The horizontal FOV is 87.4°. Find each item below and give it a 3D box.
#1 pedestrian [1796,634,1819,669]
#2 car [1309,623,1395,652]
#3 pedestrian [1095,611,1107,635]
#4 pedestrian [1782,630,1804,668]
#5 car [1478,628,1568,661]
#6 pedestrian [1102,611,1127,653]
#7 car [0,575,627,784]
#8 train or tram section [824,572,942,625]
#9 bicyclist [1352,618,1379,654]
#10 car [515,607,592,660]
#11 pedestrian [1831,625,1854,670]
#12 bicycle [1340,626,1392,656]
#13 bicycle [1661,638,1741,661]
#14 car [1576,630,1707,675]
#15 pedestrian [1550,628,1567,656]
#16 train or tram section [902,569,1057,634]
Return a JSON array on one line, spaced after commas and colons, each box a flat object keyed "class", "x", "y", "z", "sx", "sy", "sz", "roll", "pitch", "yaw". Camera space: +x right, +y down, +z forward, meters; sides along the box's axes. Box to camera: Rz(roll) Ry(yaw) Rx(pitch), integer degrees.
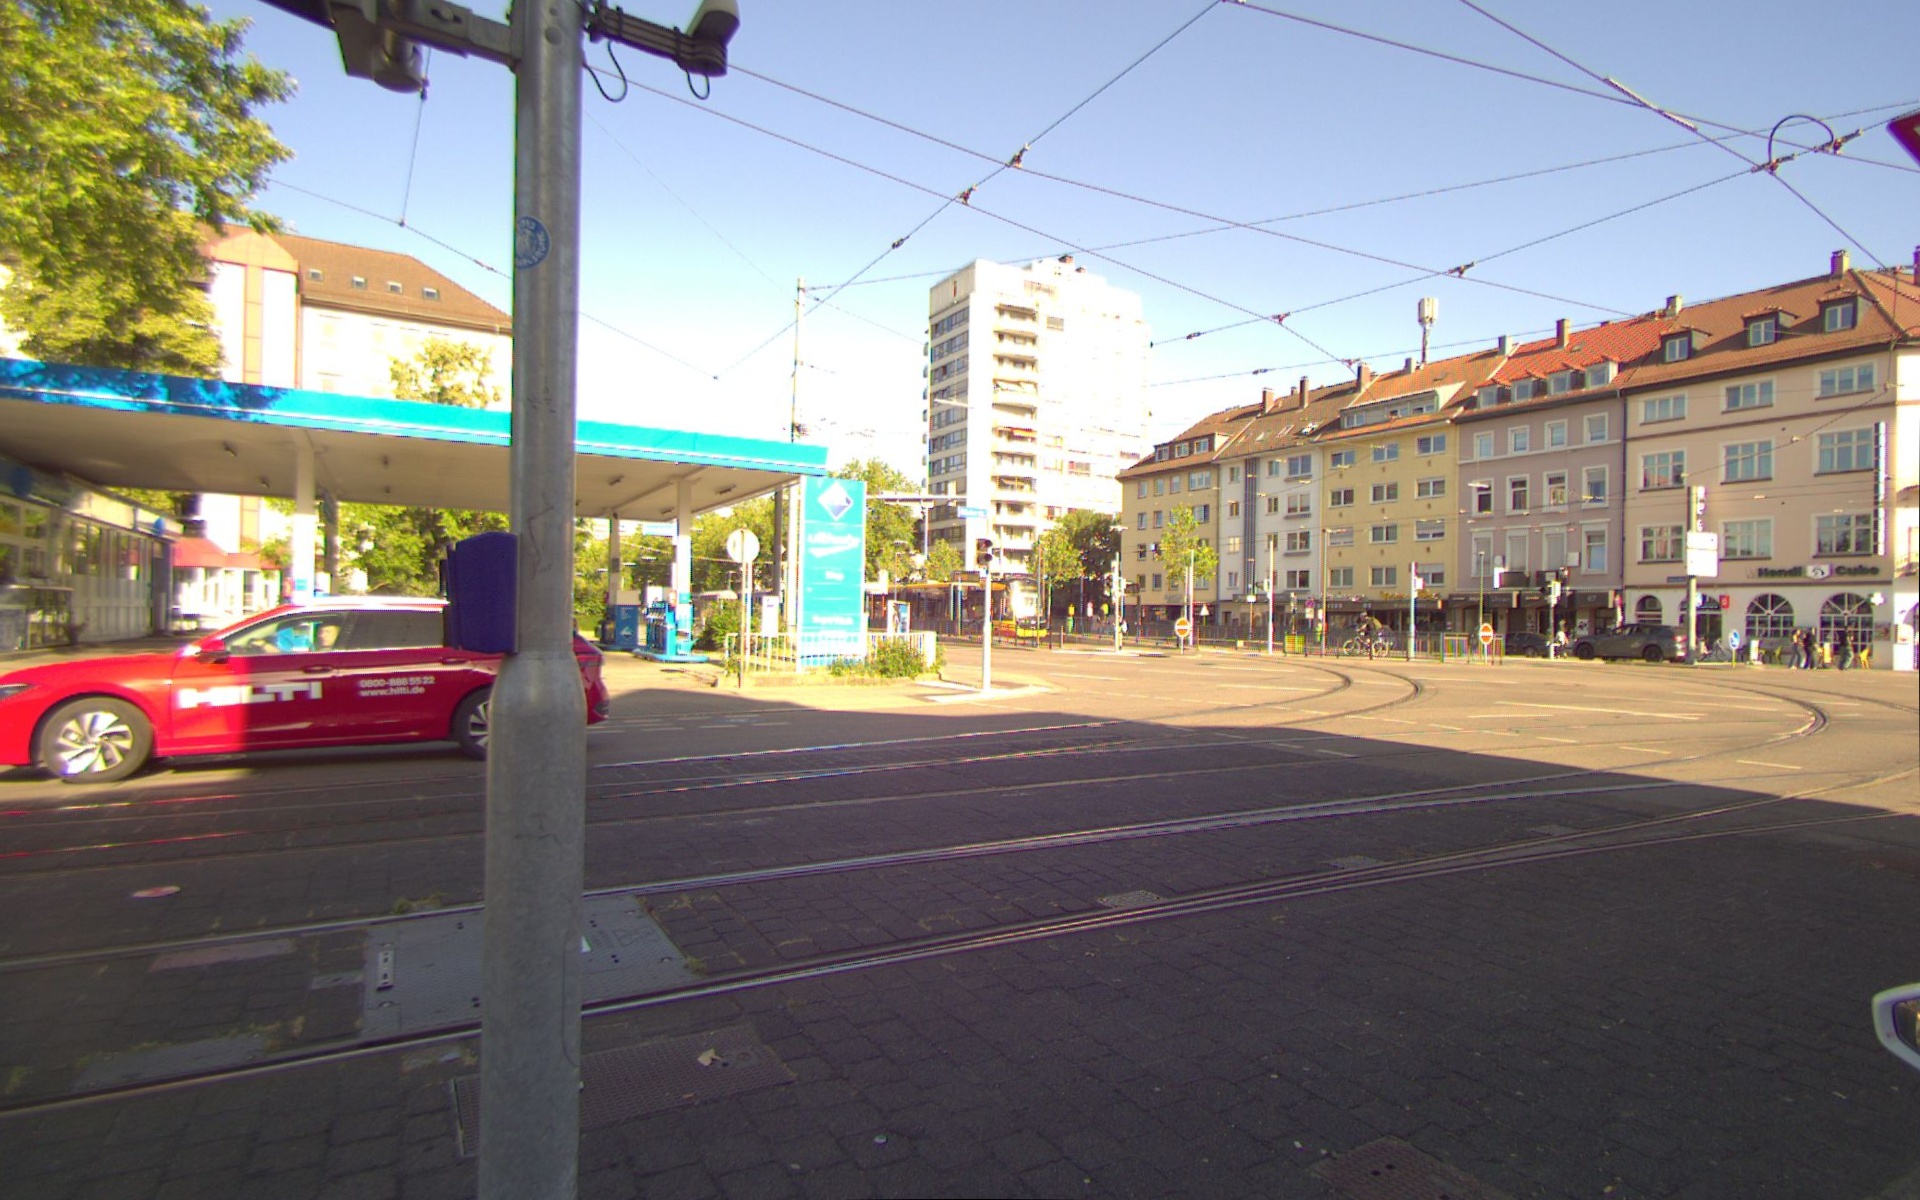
[{"class": "pedestrian", "x": 36.785, "y": 2.231, "z": 43.590, "sx": 0.460, "sy": 1.496, "sz": 0.629, "roll": 2, "pitch": 0, "yaw": -33}, {"class": "car", "x": 21.452, "y": 2.023, "z": 55.124, "sx": 1.980, "sy": 1.394, "sz": 3.961, "roll": 2, "pitch": 0, "yaw": -35}, {"class": "pedestrian", "x": 9.631, "y": 1.584, "z": 68.835, "sx": 0.570, "sy": 1.649, "sz": 0.522, "roll": 2, "pitch": 0, "yaw": -31}, {"class": "pedestrian", "x": 36.847, "y": 2.170, "z": 44.444, "sx": 0.460, "sy": 1.633, "sz": 0.629, "roll": 2, "pitch": 0, "yaw": -33}, {"class": "car", "x": 30.853, "y": 2.421, "z": 55.137, "sx": 1.970, "sy": 1.692, "sz": 3.981, "roll": 1, "pitch": -1, "yaw": -21}, {"class": "pedestrian", "x": 6.228, "y": 1.303, "z": 40.614, "sx": 0.675, "sy": 1.656, "sz": 0.694, "roll": 2, "pitch": 0, "yaw": -35}, {"class": "car", "x": -5.677, "y": 0.671, "z": 9.263, "sx": 4.705, "sy": 1.542, "sz": 1.900, "roll": 2, "pitch": -2, "yaw": -28}, {"class": "train or tram section", "x": -5.466, "y": -0.134, "z": 67.972, "sx": 2.751, "sy": 3.273, "sz": 12.286, "roll": 2, "pitch": 0, "yaw": -31}, {"class": "bicyclist", "x": 15.720, "y": 1.397, "z": 38.966, "sx": 0.787, "sy": 1.384, "sz": 0.560, "roll": 2, "pitch": 0, "yaw": 2}, {"class": "car", "x": -12.167, "y": 0.973, "z": 29.955, "sx": 1.764, "sy": 1.411, "sz": 3.455, "roll": 2, "pitch": 0, "yaw": -28}, {"class": "pedestrian", "x": 37.807, "y": 2.032, "z": 43.039, "sx": 0.460, "sy": 1.906, "sz": 0.629, "roll": 2, "pitch": 0, "yaw": -33}, {"class": "bicycle", "x": 15.756, "y": 1.595, "z": 38.994, "sx": 1.759, "sy": 1.084, "sz": 0.575, "roll": 2, "pitch": 0, "yaw": 1}, {"class": "bicycle", "x": 37.497, "y": 2.495, "z": 50.892, "sx": 0.989, "sy": 0.993, "sz": 3.115, "roll": 2, "pitch": 0, "yaw": -29}, {"class": "car", "x": 28.663, "y": 2.170, "z": 42.370, "sx": 1.931, "sy": 1.639, "sz": 4.144, "roll": 2, "pitch": 0, "yaw": -31}, {"class": "pedestrian", "x": 33.118, "y": 2.332, "z": 55.586, "sx": 0.460, "sy": 1.496, "sz": 0.629, "roll": 2, "pitch": 0, "yaw": -33}, {"class": "train or tram section", "x": 0.776, "y": 0.037, "z": 57.492, "sx": 2.751, "sy": 3.273, "sz": 12.286, "roll": 2, "pitch": 0, "yaw": -31}]
